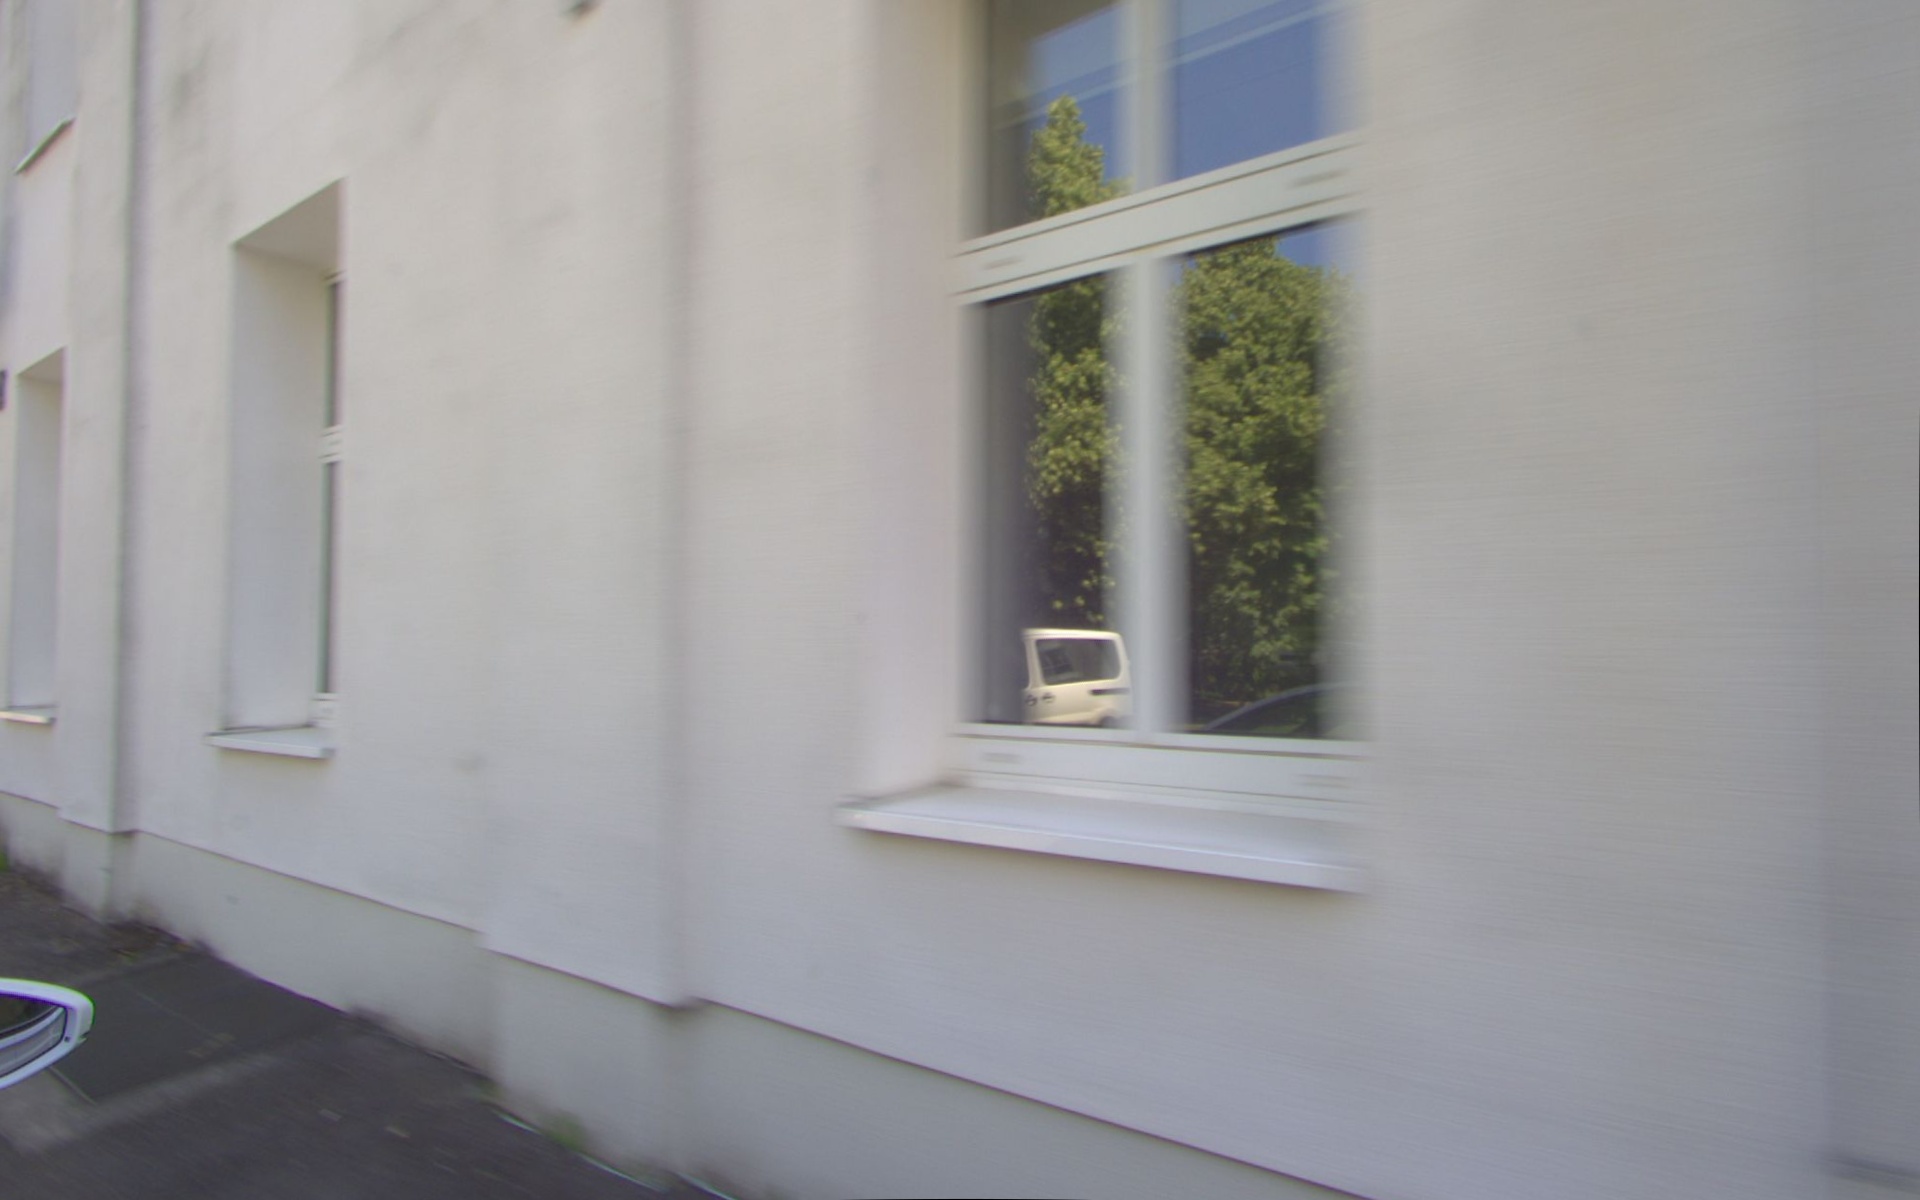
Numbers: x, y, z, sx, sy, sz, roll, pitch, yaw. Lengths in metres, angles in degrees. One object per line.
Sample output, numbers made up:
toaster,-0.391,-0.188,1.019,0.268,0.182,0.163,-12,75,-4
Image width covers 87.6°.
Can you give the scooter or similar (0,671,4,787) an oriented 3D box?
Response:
scooter or similar,-9.934,1.281,9.666,1.234,1.188,0.464,-1,-3,18
